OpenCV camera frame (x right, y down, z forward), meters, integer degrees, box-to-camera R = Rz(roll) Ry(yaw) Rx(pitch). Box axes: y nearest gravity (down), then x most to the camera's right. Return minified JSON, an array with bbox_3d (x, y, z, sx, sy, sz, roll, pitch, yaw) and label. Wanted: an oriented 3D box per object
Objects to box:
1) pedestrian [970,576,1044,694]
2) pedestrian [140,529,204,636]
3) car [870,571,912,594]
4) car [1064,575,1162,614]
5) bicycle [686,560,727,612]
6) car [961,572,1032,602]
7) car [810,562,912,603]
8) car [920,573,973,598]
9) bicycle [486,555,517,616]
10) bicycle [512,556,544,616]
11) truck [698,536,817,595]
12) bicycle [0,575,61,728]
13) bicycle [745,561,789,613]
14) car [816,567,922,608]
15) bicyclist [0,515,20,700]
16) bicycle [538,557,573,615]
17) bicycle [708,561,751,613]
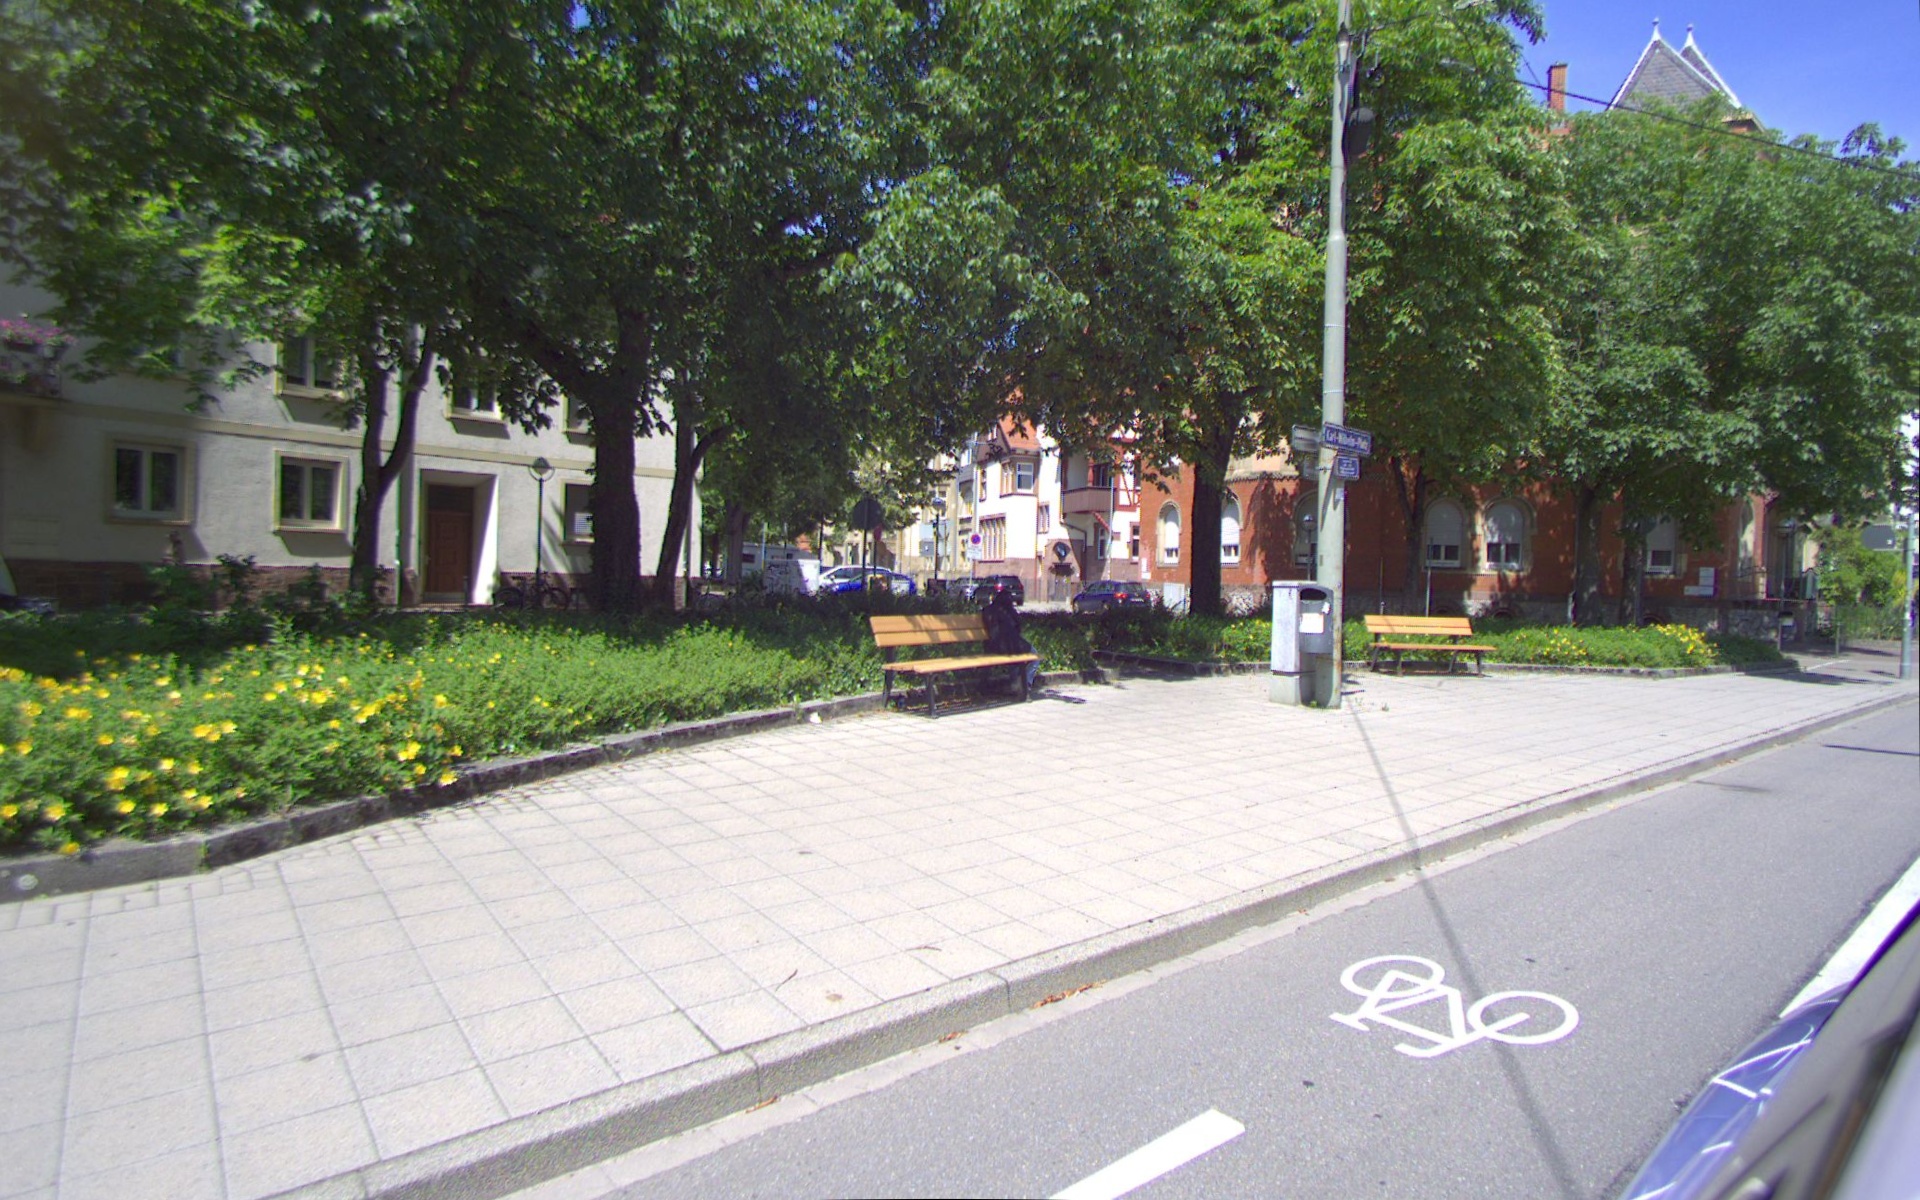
[{"bbox_3d":[0.464,0.336,10.035,0.469,1.105,0.511,2,2,-34],"label":"pedestrian"},{"bbox_3d":[-15.441,-0.349,19.843,0.801,2.039,0.765,1,1,31],"label":"pedestrian"},{"bbox_3d":[-5.098,-1.309,74.494,1.865,1.575,4.411,0,1,-21],"label":"car"},{"bbox_3d":[6.137,-0.261,41.208,1.865,1.459,4.769,0,1,-21],"label":"car"},{"bbox_3d":[-6.654,-0.378,26.469,0.536,1.316,2.162,0,1,-28],"label":"bicycle"},{"bbox_3d":[1.886,-0.735,54.554,1.946,1.551,5.503,0,1,-19],"label":"car"},{"bbox_3d":[-4.398,-0.768,45.069,4.176,1.673,1.731,2,0,-21],"label":"car"},{"bbox_3d":[-0.924,-0.934,63.687,1.865,1.482,4.626,0,1,-21],"label":"car"},{"bbox_3d":[-10.758,-0.350,23.722,0.505,1.361,2.332,0,1,-28],"label":"bicycle"},{"bbox_3d":[-10.243,-0.342,23.963,0.505,1.364,2.247,0,1,-28],"label":"bicycle"},{"bbox_3d":[-12.133,-2.038,60.646,6.685,3.193,1.939,2,0,-19],"label":"truck"},{"bbox_3d":[-9.806,0.517,9.504,0.584,1.504,2.162,1,1,9],"label":"bicycle"},{"bbox_3d":[-5.179,-0.358,27.103,0.536,1.316,2.162,0,1,-28],"label":"bicycle"},{"bbox_3d":[-3.625,-0.493,40.049,3.807,1.447,1.731,2,0,-21],"label":"car"},{"bbox_3d":[-9.731,0.071,9.906,0.594,1.822,0.532,1,1,11],"label":"bicyclist"},{"bbox_3d":[-9.606,-0.340,23.985,0.536,1.316,2.162,0,1,-28],"label":"bicycle"},{"bbox_3d":[-6.107,-0.355,26.747,0.536,1.316,2.162,0,1,-28],"label":"bicycle"}]
